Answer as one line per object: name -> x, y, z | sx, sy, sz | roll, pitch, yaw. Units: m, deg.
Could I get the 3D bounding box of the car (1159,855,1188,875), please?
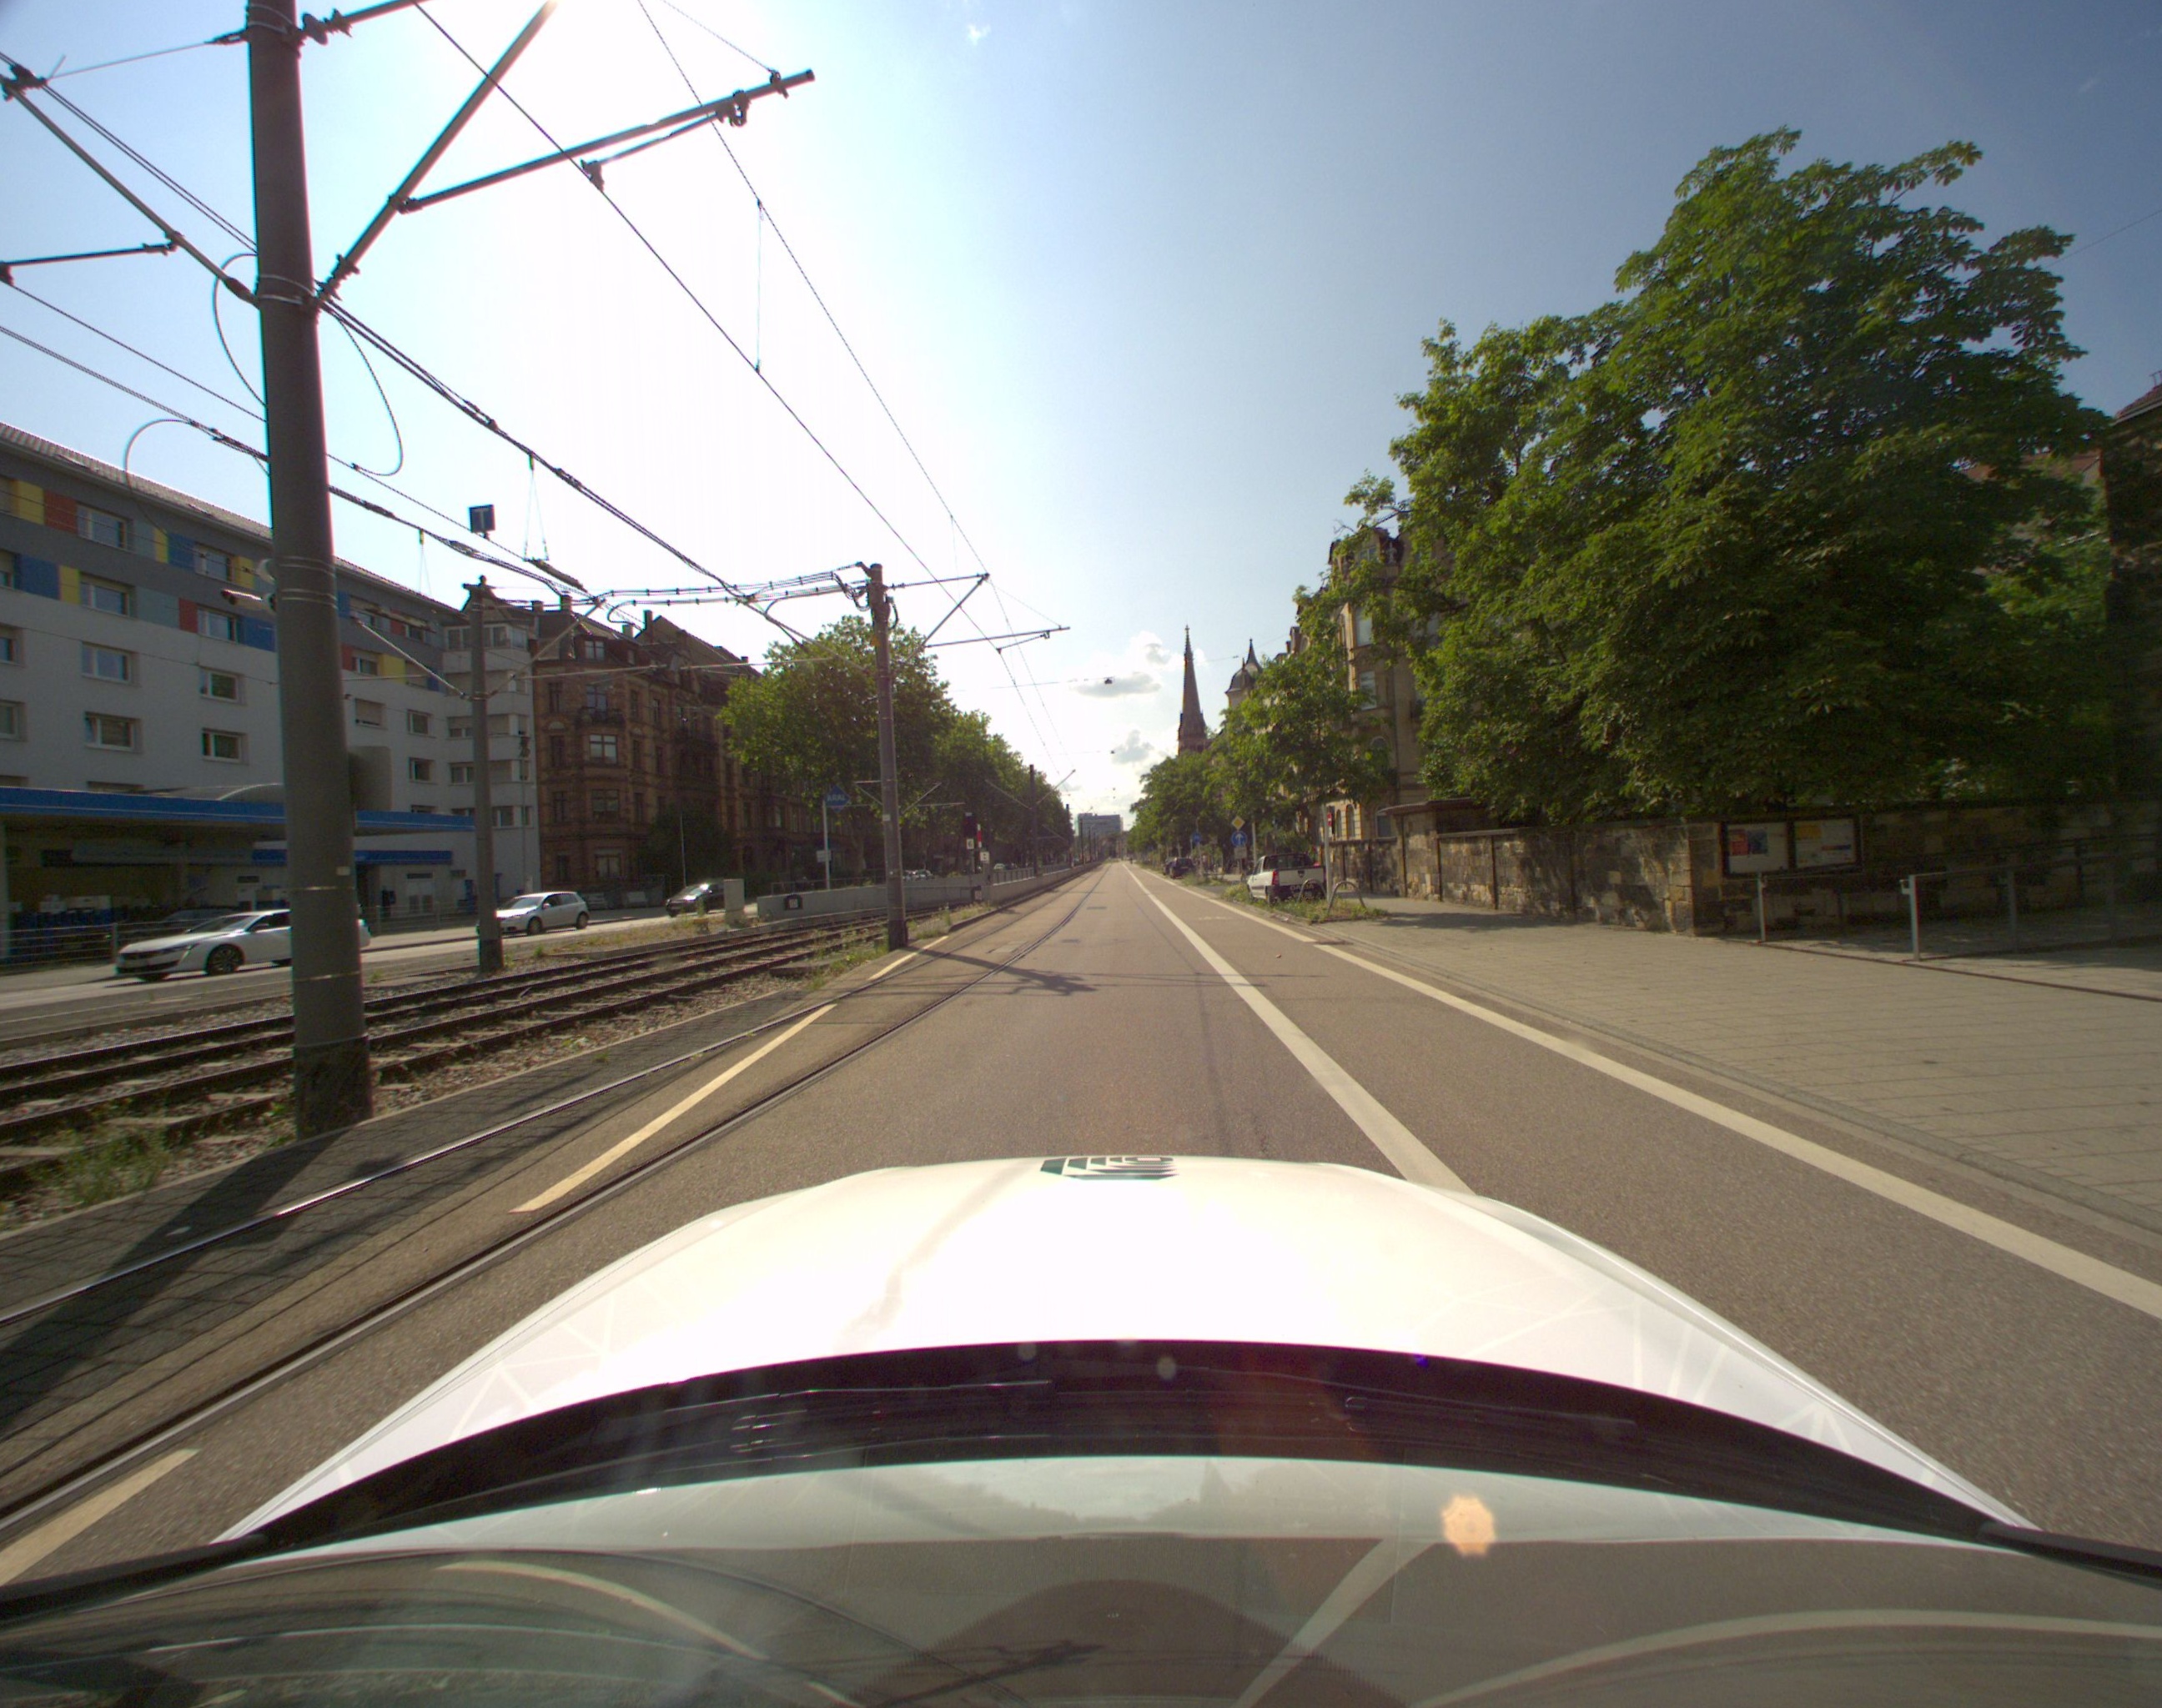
car -> 7.976, 0.949, 70.325 | 1.793, 1.526, 4.487 | -5, 0, -1

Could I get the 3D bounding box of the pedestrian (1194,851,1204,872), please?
pedestrian -> 10.492, 0.706, 72.638 | 0.667, 1.804, 0.319 | -5, -1, 0

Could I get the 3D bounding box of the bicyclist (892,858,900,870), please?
bicyclist -> -23.419, 1.228, 102.918 | 0.686, 1.455, 1.045 | -3, -1, 2

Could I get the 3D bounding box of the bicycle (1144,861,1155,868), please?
bicycle -> 11.261, 1.704, 133.984 | 1.811, 0.902, 0.603 | -5, 0, -1

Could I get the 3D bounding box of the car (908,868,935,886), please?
car -> -15.851, 2.250, 81.071 | 1.637, 1.482, 4.004 | -5, 0, 2

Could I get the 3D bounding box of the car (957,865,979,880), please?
car -> -14.788, 2.401, 107.004 | 1.708, 1.691, 3.739 | -5, 0, 9

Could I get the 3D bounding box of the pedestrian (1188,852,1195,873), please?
pedestrian -> 9.864, 0.776, 72.674 | 0.457, 1.804, 0.319 | -5, -1, 0

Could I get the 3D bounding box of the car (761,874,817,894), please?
car -> -25.157, 2.606, 70.312 | 3.969, 1.483, 2.002 | -3, -1, 4

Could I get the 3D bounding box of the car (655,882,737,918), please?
car -> -18.275, 2.172, 38.838 | 1.659, 1.416, 3.791 | -3, 0, 8

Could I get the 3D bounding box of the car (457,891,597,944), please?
car -> -19.707, 2.211, 29.245 | 1.714, 1.416, 4.410 | -4, 0, 4

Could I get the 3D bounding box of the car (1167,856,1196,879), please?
car -> 7.406, 0.950, 60.314 | 1.679, 1.502, 4.712 | -4, 0, 3

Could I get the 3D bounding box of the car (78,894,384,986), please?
car -> -20.293, 1.957, 19.898 | 1.939, 1.606, 5.079 | -3, 0, 2

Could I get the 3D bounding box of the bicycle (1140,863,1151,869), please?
bicycle -> 11.532, 2.072, 145.253 | 1.811, 0.902, 0.603 | -5, 0, -1

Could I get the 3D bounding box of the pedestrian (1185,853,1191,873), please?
pedestrian -> 9.450, 0.764, 71.731 | 0.316, 1.706, 0.462 | -6, -1, 16

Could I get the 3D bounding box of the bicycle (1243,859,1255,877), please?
bicycle -> 10.432, 0.867, 50.615 | 0.468, 1.108, 1.712 | -3, -1, 3

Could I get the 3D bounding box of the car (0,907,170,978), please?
car -> -30.473, 2.611, 24.369 | 1.895, 1.606, 3.877 | -3, 1, 2

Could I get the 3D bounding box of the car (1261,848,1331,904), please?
car -> 6.257, 0.584, 24.066 | 1.658, 1.416, 3.856 | -4, 0, 11

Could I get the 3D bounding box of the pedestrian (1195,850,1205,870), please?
pedestrian -> 10.360, 0.550, 70.723 | 0.530, 1.676, 0.571 | -5, -1, -16

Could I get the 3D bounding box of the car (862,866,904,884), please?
car -> -23.687, 2.467, 97.421 | 4.386, 1.918, 2.000 | -3, -1, 1

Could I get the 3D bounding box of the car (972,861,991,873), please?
car -> -14.852, 1.926, 121.534 | 1.984, 1.636, 4.005 | -5, 0, 5

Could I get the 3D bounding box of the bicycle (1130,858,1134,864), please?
bicycle -> 10.580, 1.477, 169.841 | 0.796, 1.237, 2.780 | -3, 0, 3

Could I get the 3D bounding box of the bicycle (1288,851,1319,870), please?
bicycle -> 15.024, 0.429, 54.997 | 1.885, 1.069, 0.470 | -6, -1, -4

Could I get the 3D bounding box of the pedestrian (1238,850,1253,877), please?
pedestrian -> 10.223, 0.588, 50.686 | 0.720, 1.629, 0.725 | -3, -1, 2

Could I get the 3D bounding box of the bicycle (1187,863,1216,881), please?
bicycle -> 7.558, 1.142, 51.210 | 1.702, 1.069, 0.470 | -3, -1, -4

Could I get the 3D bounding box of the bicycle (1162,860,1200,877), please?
bicycle -> 8.235, 1.203, 66.790 | 2.947, 1.246, 0.790 | -3, -1, -11

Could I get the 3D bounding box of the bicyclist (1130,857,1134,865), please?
bicyclist -> 10.582, 1.510, 169.874 | 0.767, 1.730, 1.027 | -3, -1, 3

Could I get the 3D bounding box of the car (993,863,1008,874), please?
car -> -13.768, 2.512, 139.703 | 1.831, 1.727, 4.003 | -5, 0, 2

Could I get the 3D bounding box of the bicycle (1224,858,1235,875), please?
bicycle -> 10.689, 0.897, 58.597 | 0.426, 1.140, 2.024 | -6, -1, 3

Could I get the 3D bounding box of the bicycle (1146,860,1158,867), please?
bicycle -> 11.199, 1.547, 129.046 | 1.811, 0.902, 0.651 | -5, 0, -1

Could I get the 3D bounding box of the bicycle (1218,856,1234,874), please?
bicycle -> 10.916, 0.831, 61.450 | 0.655, 1.248, 2.945 | -6, -1, 3

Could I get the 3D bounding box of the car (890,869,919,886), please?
car -> -16.136, 2.173, 74.626 | 1.490, 1.303, 3.496 | -5, 0, 5

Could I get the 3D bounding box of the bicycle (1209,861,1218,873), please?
bicycle -> 11.172, 1.059, 68.579 | 0.426, 0.940, 1.808 | -6, -1, 3
